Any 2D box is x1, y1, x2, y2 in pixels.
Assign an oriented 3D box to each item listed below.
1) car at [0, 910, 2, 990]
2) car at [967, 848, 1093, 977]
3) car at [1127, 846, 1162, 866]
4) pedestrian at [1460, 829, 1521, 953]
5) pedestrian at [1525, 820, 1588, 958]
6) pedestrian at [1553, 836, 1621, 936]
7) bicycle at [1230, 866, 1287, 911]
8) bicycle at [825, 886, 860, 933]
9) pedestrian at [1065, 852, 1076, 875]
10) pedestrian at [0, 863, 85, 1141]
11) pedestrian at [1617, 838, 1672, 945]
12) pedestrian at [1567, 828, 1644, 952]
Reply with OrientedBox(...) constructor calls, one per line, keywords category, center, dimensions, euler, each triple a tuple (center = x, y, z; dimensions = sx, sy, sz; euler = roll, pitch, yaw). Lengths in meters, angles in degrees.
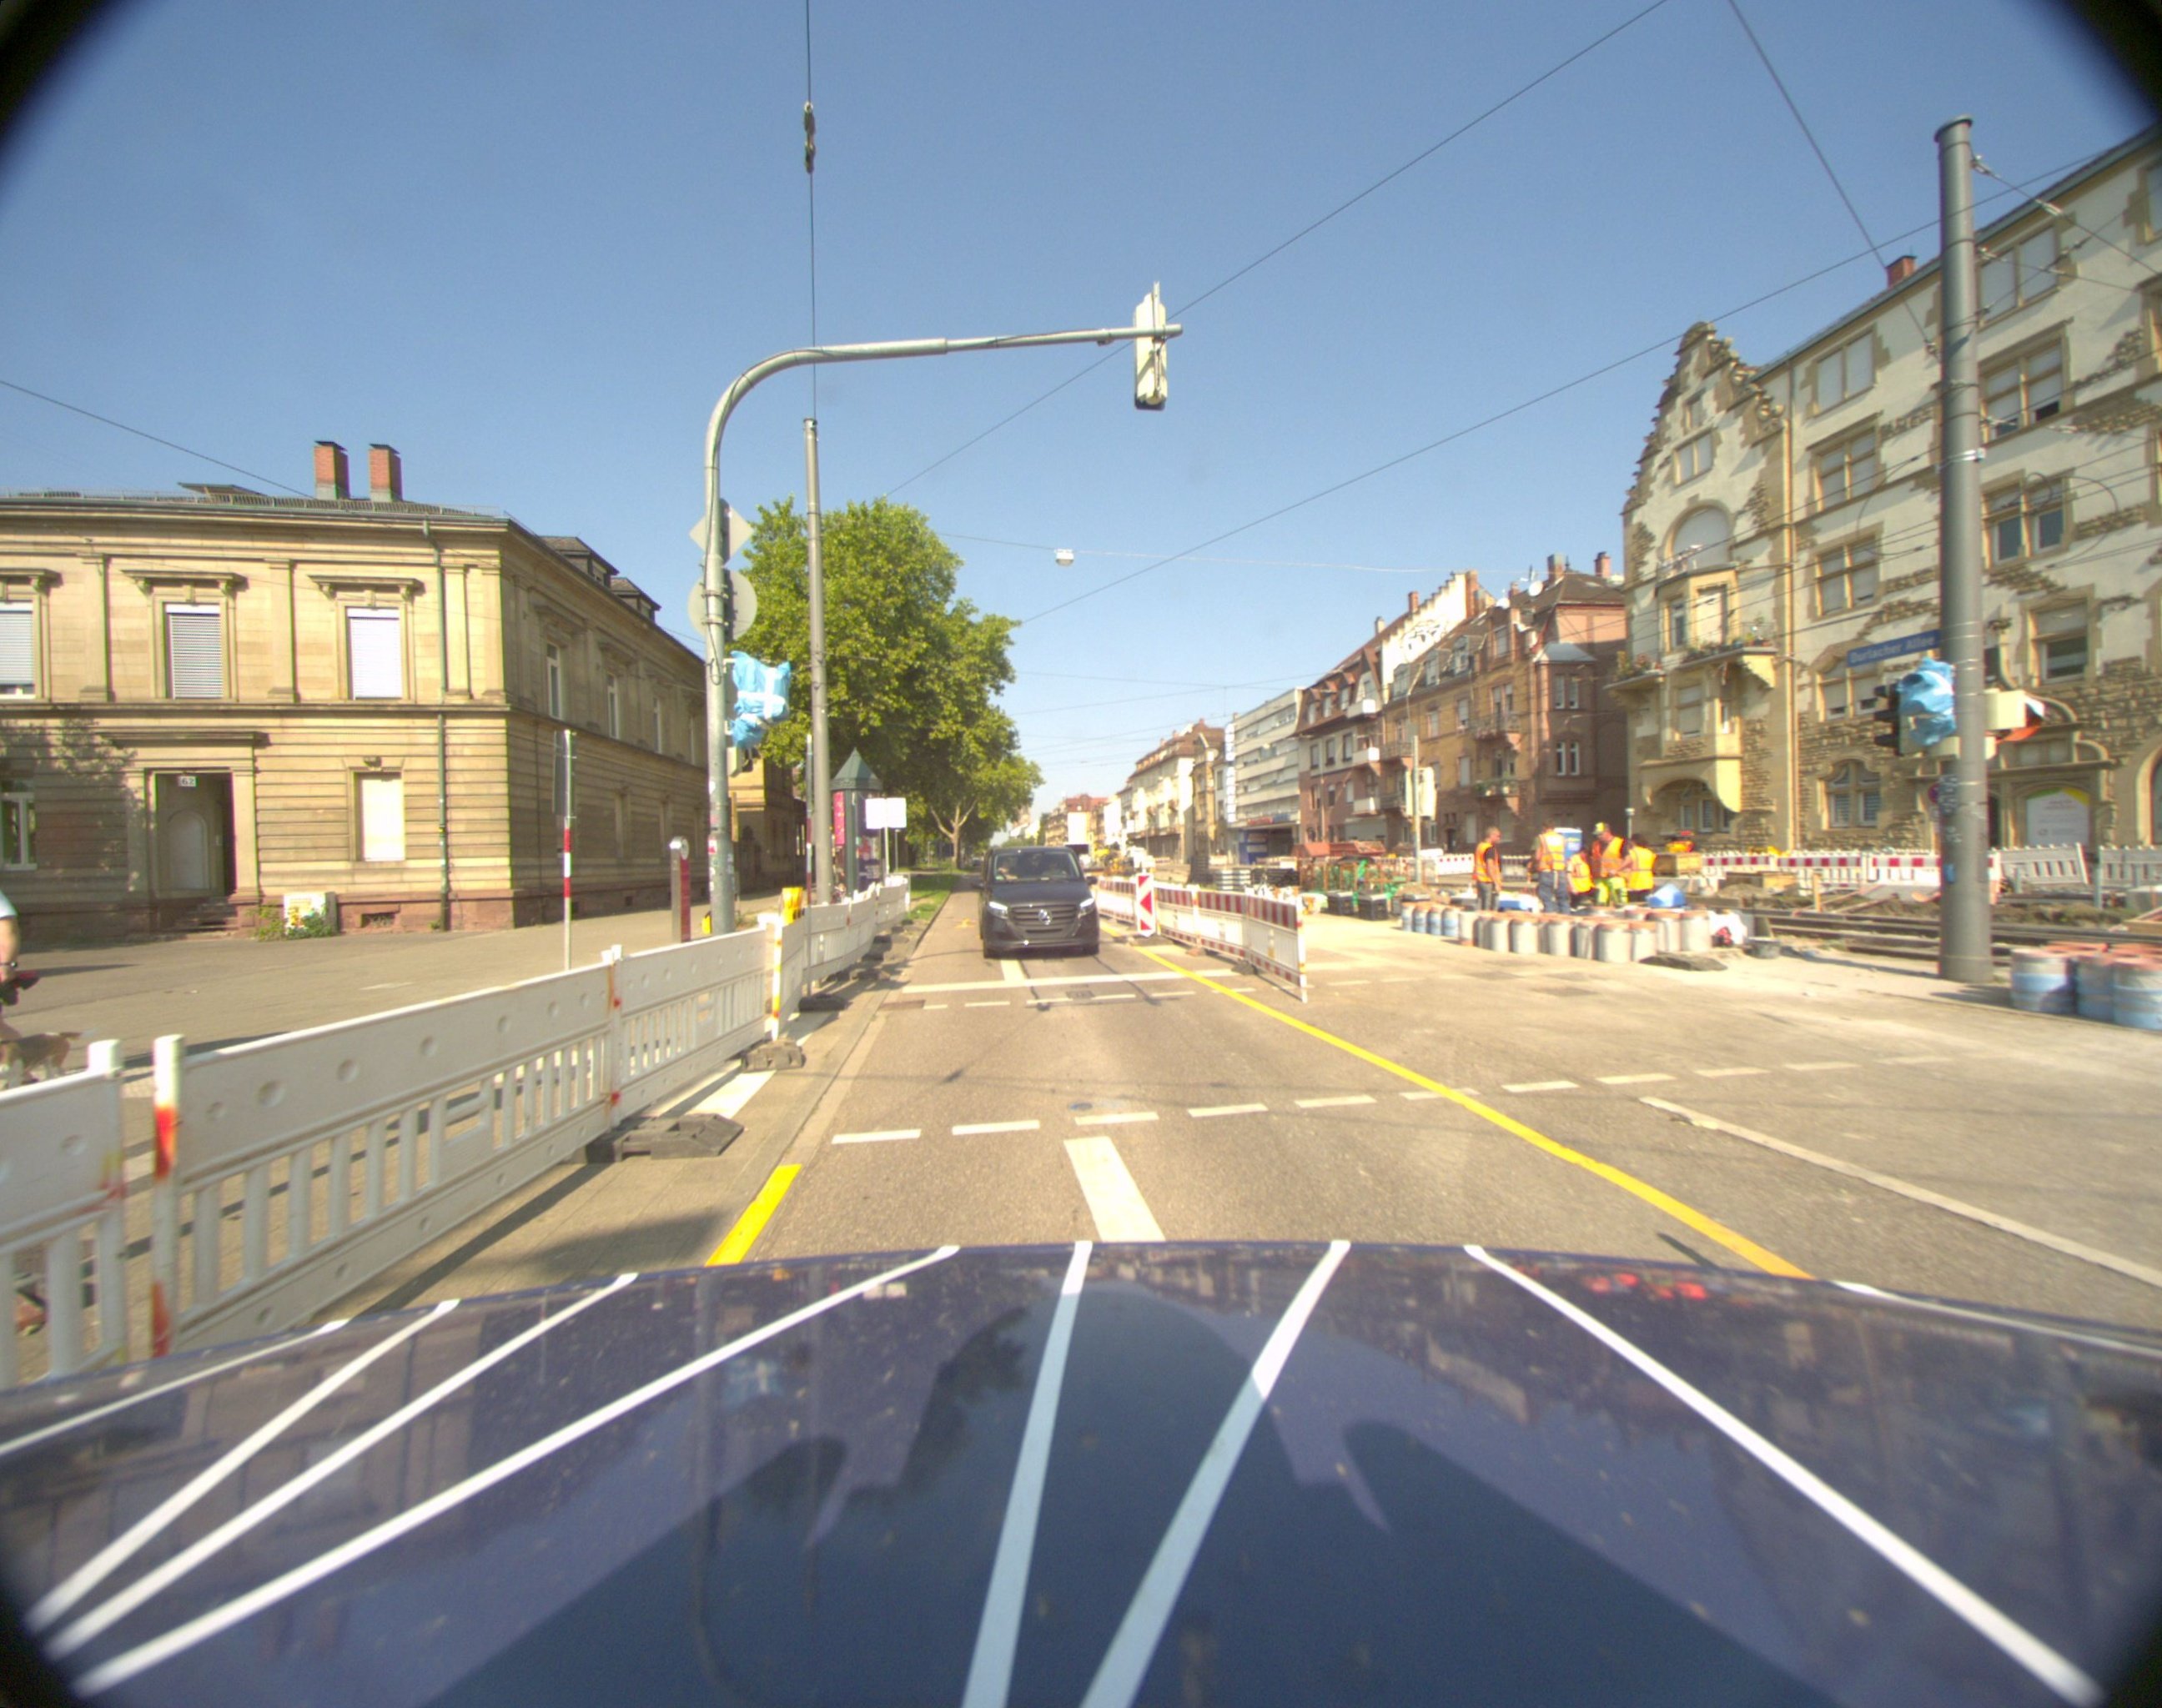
OrientedBox(category="car", center=(-16.719, 1.124, 9.022), dimensions=(1.909, 1.772, 4.223), euler=(0, 0, -5))
OrientedBox(category="car", center=(-1.041, 0.874, 13.665), dimensions=(1.854, 1.875, 4.175), euler=(-2, 1, -8))
OrientedBox(category="car", center=(7.037, 0.188, 85.255), dimensions=(2.368, 2.122, 7.116), euler=(-1, 1, -8))
OrientedBox(category="pedestrian", center=(6.587, 0.571, 12.224), dimensions=(0.716, 1.915, 0.683), euler=(-2, 1, -45))
OrientedBox(category="pedestrian", center=(7.225, 0.507, 11.548), dimensions=(0.698, 2.003, 0.672), euler=(-2, 1, -45))
OrientedBox(category="pedestrian", center=(9.429, 0.572, 14.196), dimensions=(0.828, 1.806, 0.885), euler=(0, 1, 15))
OrientedBox(category="bicycle", center=(4.902, 0.931, 21.125), dimensions=(0.564, 1.092, 1.964), euler=(-3, 2, -18))
OrientedBox(category="bicycle", center=(-5.645, 1.295, 18.058), dimensions=(0.540, 1.000, 1.570), euler=(0, 0, -8))
OrientedBox(category="pedestrian", center=(-0.835, 0.775, 60.480), dimensions=(0.802, 1.787, 0.597), euler=(0, 1, 17))
OrientedBox(category="pedestrian", center=(-7.198, 0.931, 4.778), dimensions=(0.869, 1.727, 0.670), euler=(-1, 1, -9))
OrientedBox(category="pedestrian", center=(9.848, 0.625, 13.285), dimensions=(0.752, 1.799, 0.832), euler=(0, 1, 37))
OrientedBox(category="pedestrian", center=(8.133, 0.546, 11.805), dimensions=(0.721, 1.860, 0.708), euler=(-1, 1, 0))
